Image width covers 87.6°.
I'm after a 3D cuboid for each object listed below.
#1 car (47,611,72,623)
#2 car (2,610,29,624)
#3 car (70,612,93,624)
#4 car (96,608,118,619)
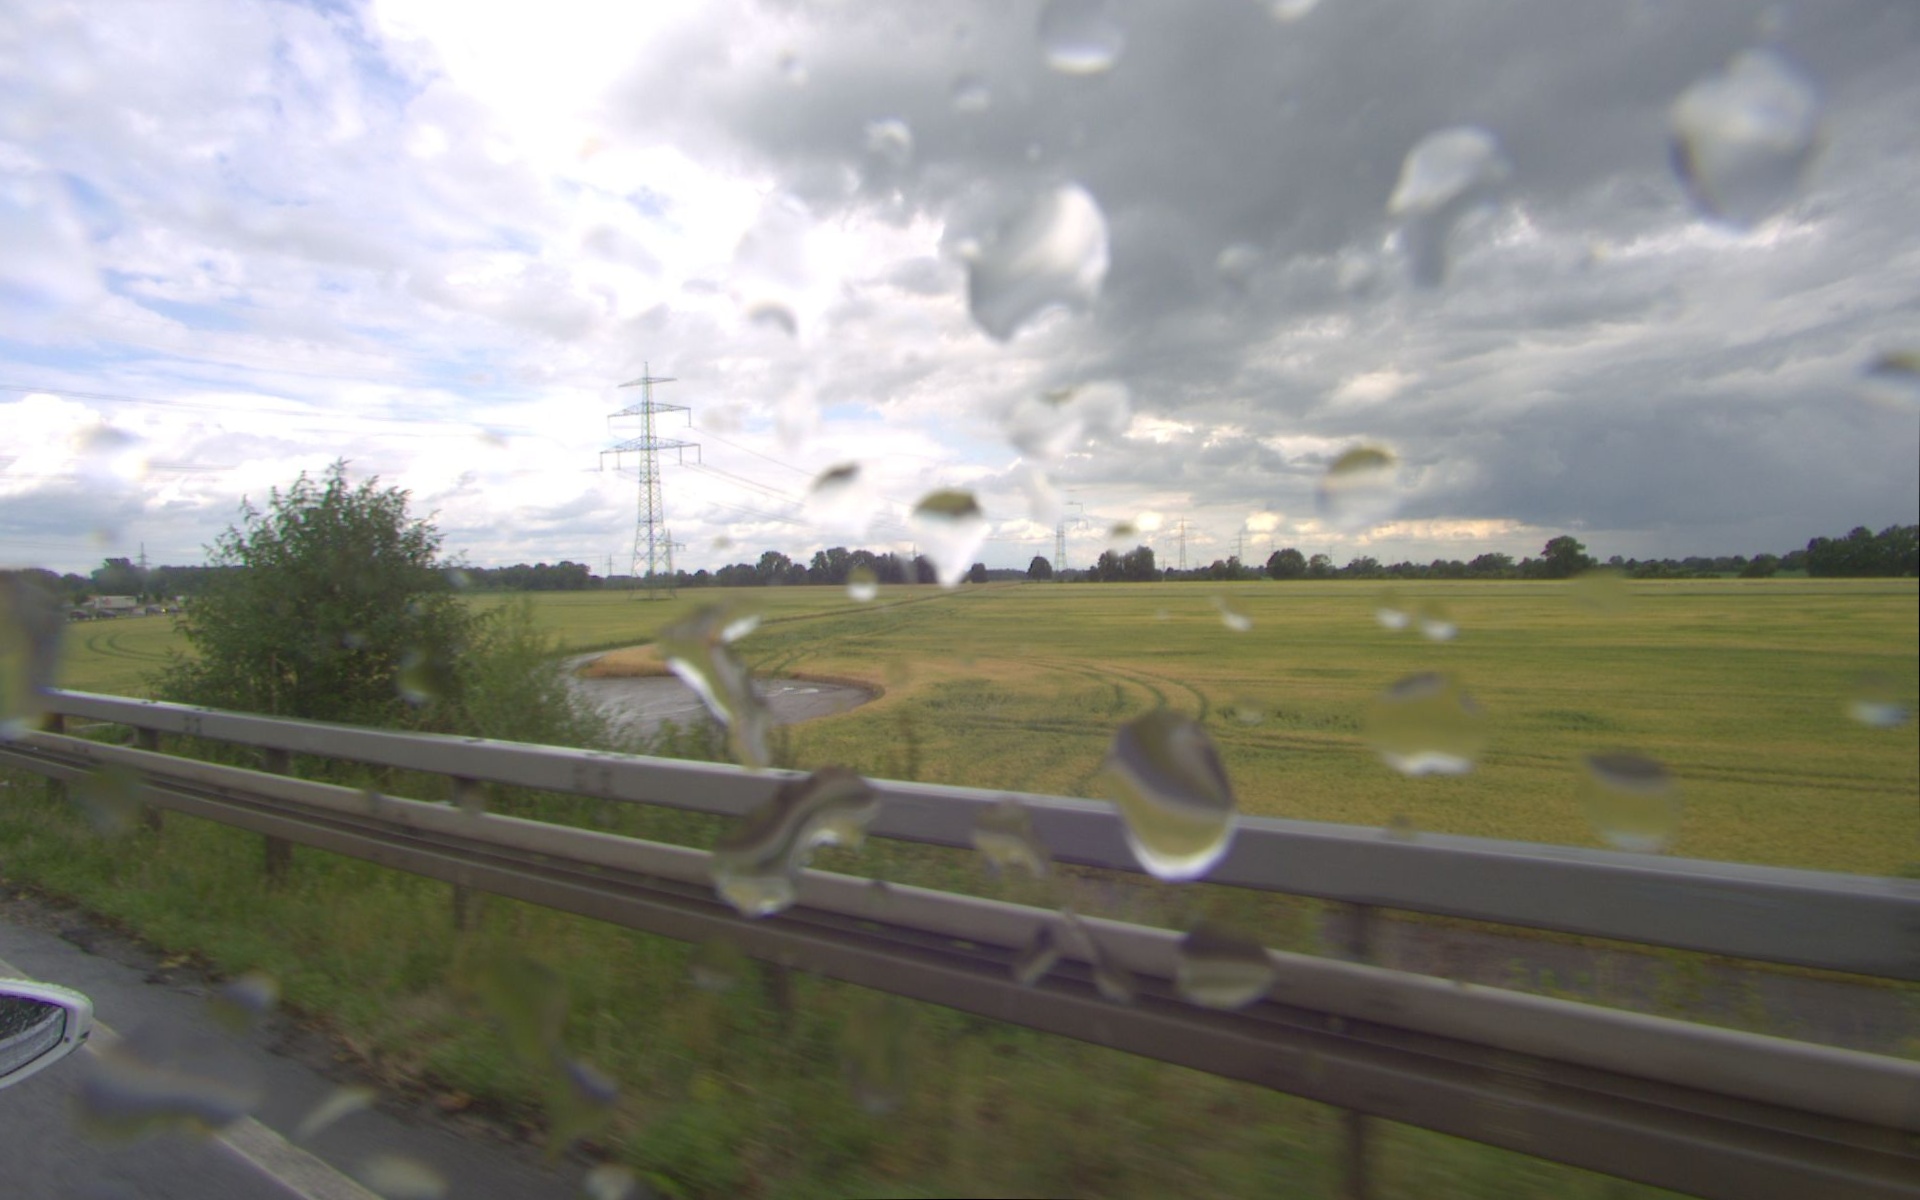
[{"bbox_3d":[-149.712,2.834,166.499,2.200,2.039,3.982,0,-2,-29],"label":"car"},{"bbox_3d":[-143.556,2.575,152.213,1.970,2.039,3.983,0,-2,-28],"label":"car"},{"bbox_3d":[-153.664,3.089,175.217,1.968,2.039,3.988,0,-2,-24],"label":"car"},{"bbox_3d":[-157.241,2.481,184.655,1.967,2.039,3.989,0,-2,-22],"label":"car"}]
